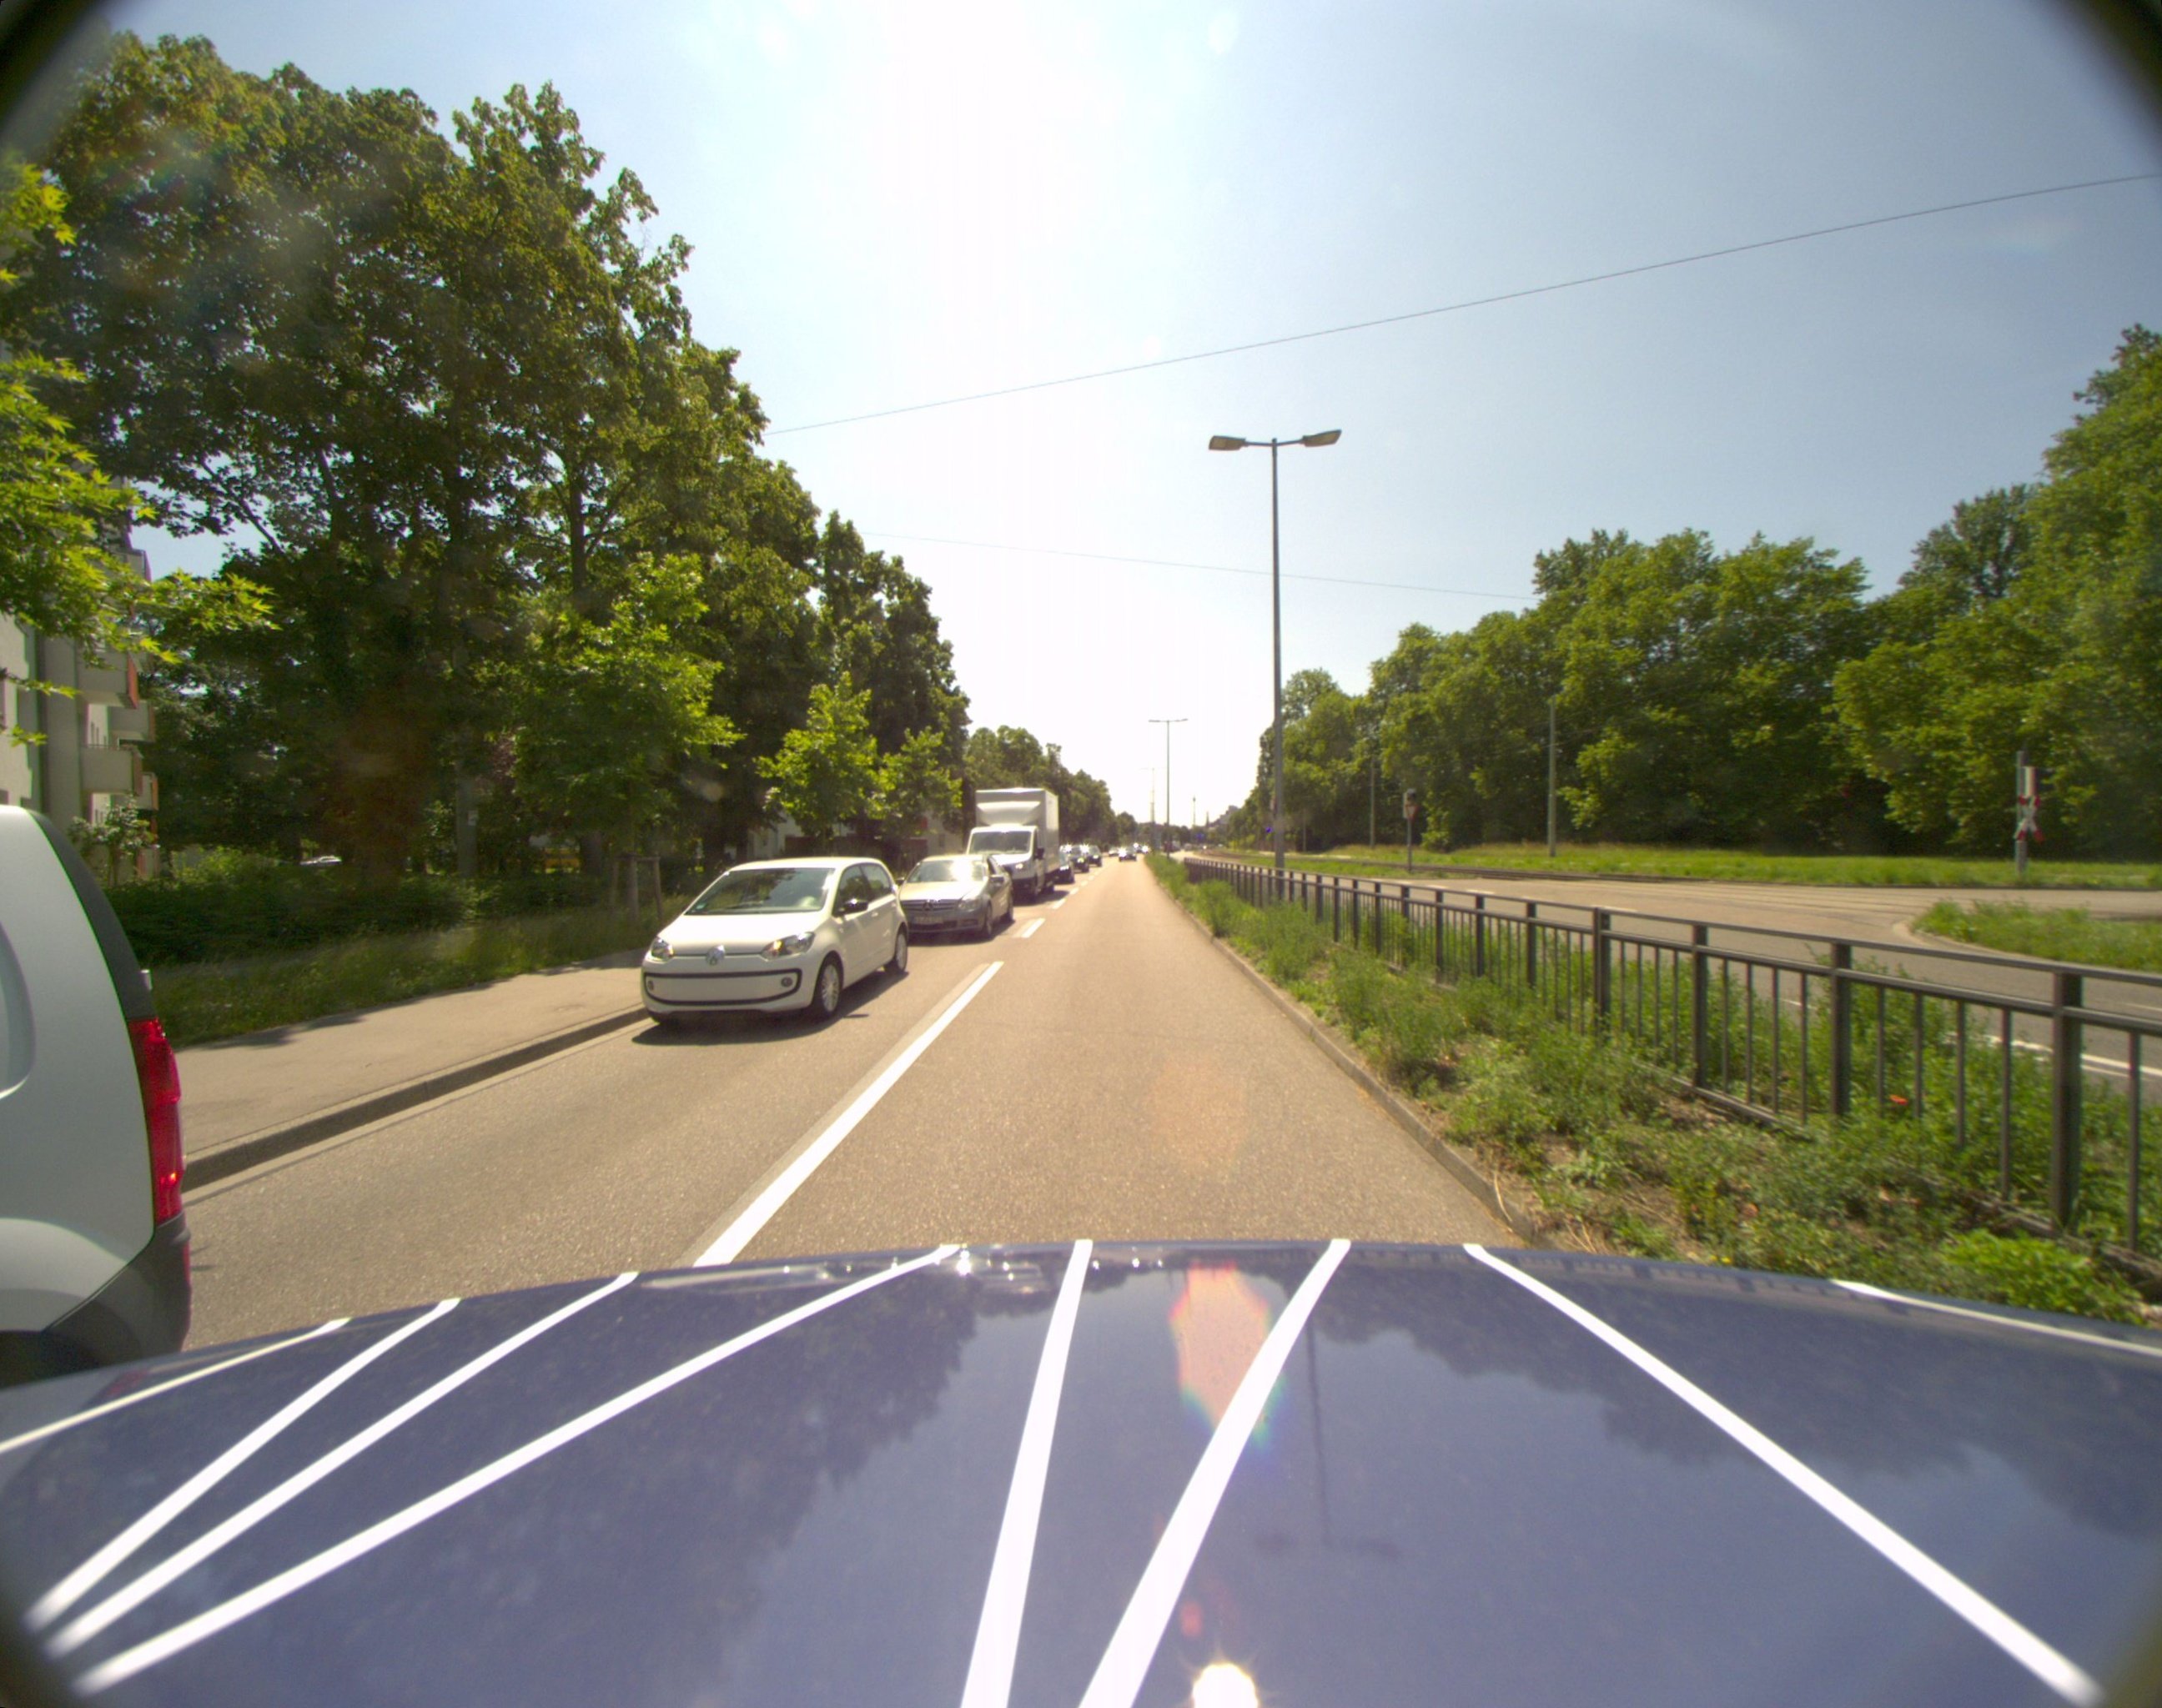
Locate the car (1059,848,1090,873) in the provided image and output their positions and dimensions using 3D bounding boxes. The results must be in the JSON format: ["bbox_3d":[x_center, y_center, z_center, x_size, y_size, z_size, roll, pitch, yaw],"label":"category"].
[{"bbox_3d":[-0.363,0.360,46.029,1.618,1.373,4.114,-2,1,2],"label":"car"}]

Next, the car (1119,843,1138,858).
[{"bbox_3d":[4.784,-0.364,76.720,1.746,1.382,3.887,-1,1,2],"label":"car"}]

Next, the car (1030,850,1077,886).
[{"bbox_3d":[-1.147,0.573,33.009,1.746,1.382,3.887,-1,1,2],"label":"car"}]

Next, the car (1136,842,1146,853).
[{"bbox_3d":[11.138,-1.214,140.034,1.745,1.840,3.888,-1,1,6],"label":"car"}]

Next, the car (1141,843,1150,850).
[{"bbox_3d":[14.091,-1.683,165.139,1.745,1.382,3.889,-1,1,7],"label":"car"}]

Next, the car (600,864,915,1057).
[{"bbox_3d":[-3.033,0.905,7.973,1.626,1.433,3.498,-2,1,2],"label":"car"}]

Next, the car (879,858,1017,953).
[{"bbox_3d":[-2.270,0.823,14.067,1.618,1.373,4.114,-2,1,2],"label":"car"}]

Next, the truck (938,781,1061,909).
[{"bbox_3d":[-2.208,-0.274,23.038,2.489,3.277,6.605,-1,1,4],"label":"truck"}]

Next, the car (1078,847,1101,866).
[{"bbox_3d":[0.697,0.146,59.403,1.746,1.382,3.887,-1,1,2],"label":"car"}]

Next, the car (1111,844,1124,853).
[{"bbox_3d":[5.524,-0.819,114.523,1.745,1.382,3.888,-1,1,5],"label":"car"}]
